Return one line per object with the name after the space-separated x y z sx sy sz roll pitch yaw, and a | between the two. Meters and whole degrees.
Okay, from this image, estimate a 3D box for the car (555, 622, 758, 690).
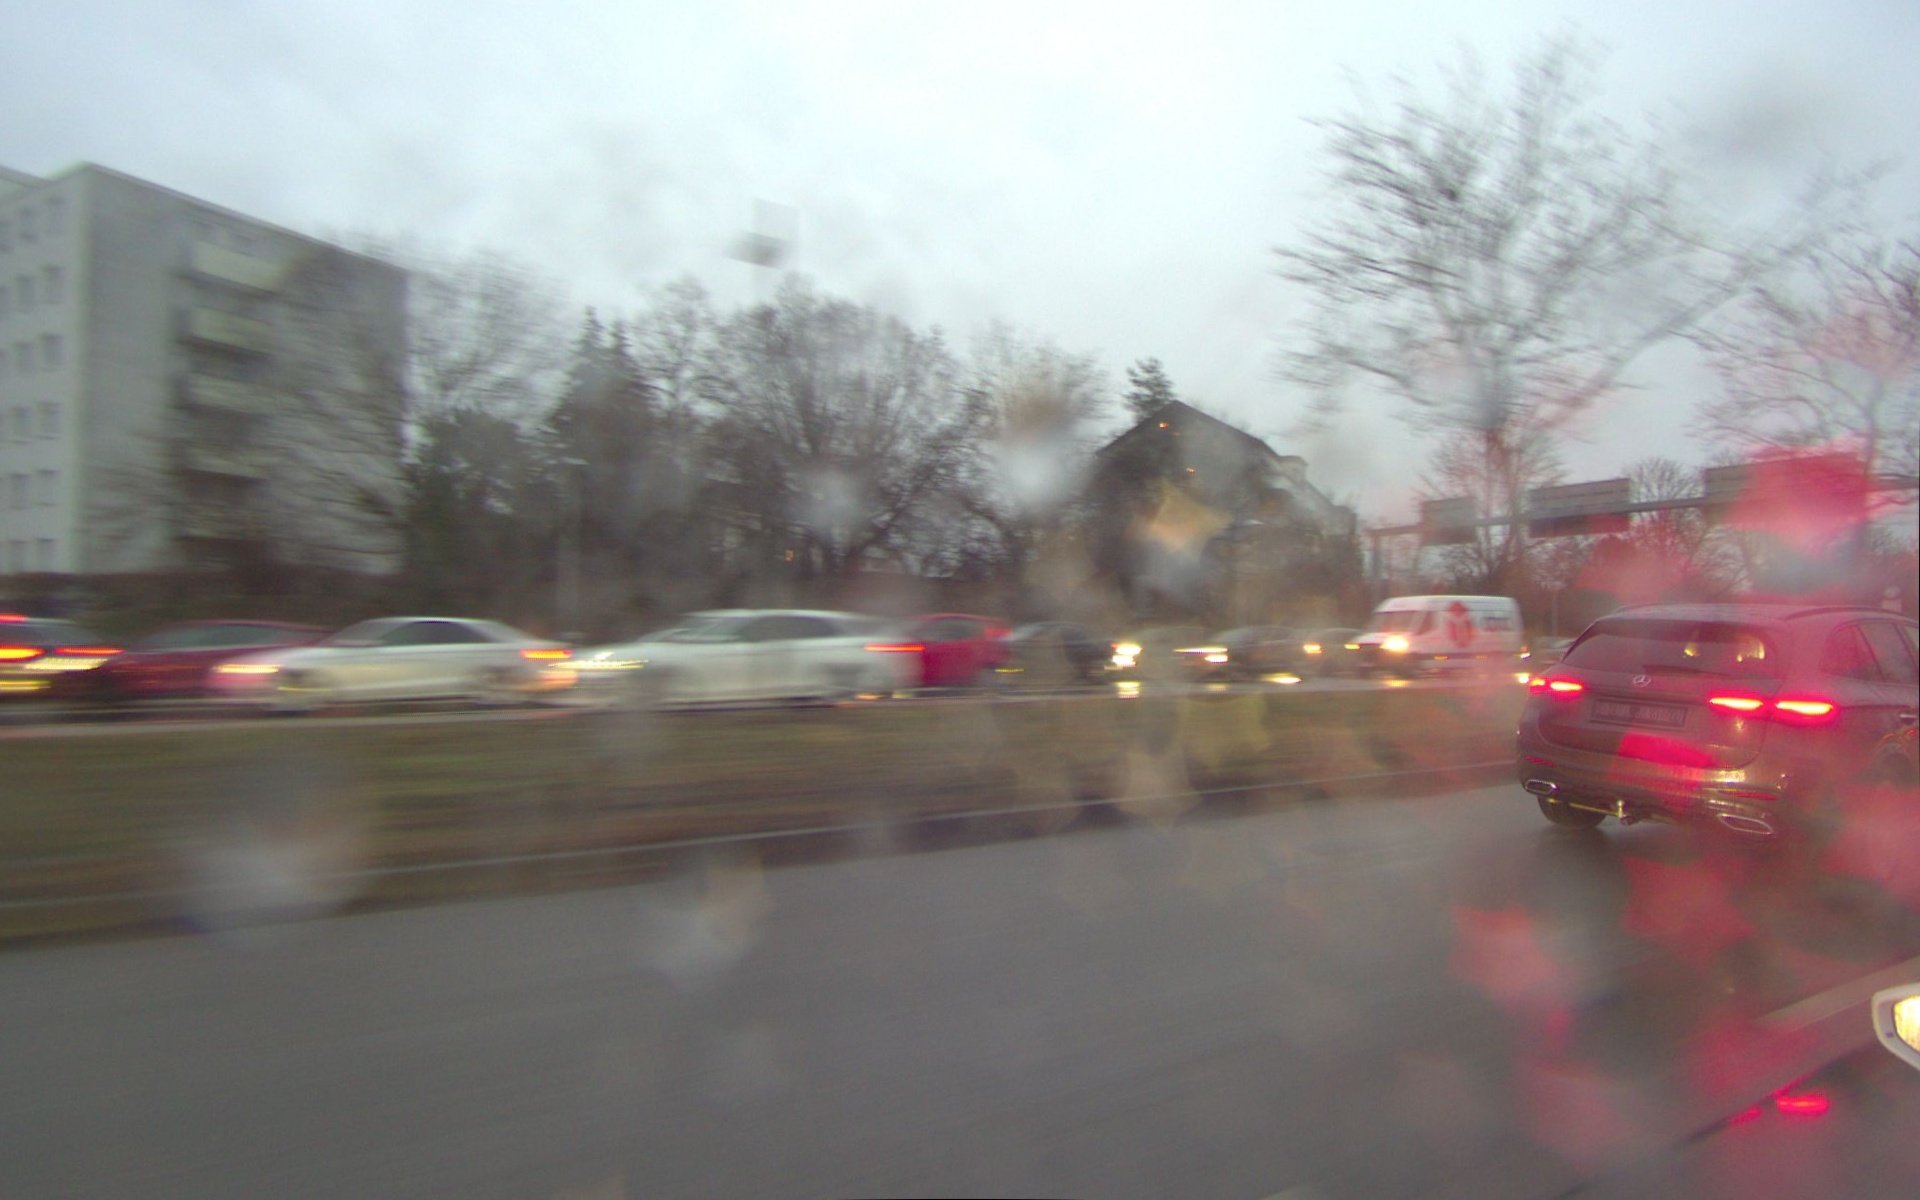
-7.277 1.306 24.189 4.388 1.515 1.761 1 -2 -31 | car

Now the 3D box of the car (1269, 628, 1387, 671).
12.767 1.715 34.833 3.953 1.416 1.748 2 -2 -30 | car

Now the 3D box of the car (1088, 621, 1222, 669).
6.130 1.409 31.473 3.953 1.416 1.748 2 -2 -30 | car

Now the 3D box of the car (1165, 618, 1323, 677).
8.114 1.334 28.646 4.391 1.557 1.762 1 -2 -29 | car

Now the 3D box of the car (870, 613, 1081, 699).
0.345 1.102 20.431 3.986 1.607 1.761 1 -2 -31 | car

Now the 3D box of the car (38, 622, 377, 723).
-12.467 1.160 17.074 4.388 1.515 1.761 1 -2 -31 | car

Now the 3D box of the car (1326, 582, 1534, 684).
15.447 1.118 32.857 7.256 3.044 2.282 3 -1 -29 | car

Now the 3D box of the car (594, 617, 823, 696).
-5.260 1.149 21.210 4.388 1.515 1.761 1 -2 -31 | car

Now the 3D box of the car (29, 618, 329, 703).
-15.004 1.139 19.667 4.388 1.515 1.761 1 -2 -31 | car

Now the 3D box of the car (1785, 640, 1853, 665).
54.260 3.302 63.458 4.022 1.497 1.985 2 -1 -29 | car

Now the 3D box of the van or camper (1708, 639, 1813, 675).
35.447 2.519 44.455 5.097 1.466 1.895 2 -1 -30 | van or camper

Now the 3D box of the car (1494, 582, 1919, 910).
5.906 0.823 7.055 4.415 1.669 1.813 2 -2 -31 | car

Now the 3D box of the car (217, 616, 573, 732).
-8.430 1.059 15.342 4.472 1.553 1.761 1 -2 -31 | car

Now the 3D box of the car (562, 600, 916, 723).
-3.168 0.850 14.761 4.784 1.557 1.761 1 -2 -31 | car

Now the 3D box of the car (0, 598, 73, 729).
-13.922 0.761 12.310 4.237 1.620 1.848 1 -2 -31 | car

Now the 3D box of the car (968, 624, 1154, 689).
2.625 1.407 25.712 4.595 1.509 1.761 1 -2 -31 | car
